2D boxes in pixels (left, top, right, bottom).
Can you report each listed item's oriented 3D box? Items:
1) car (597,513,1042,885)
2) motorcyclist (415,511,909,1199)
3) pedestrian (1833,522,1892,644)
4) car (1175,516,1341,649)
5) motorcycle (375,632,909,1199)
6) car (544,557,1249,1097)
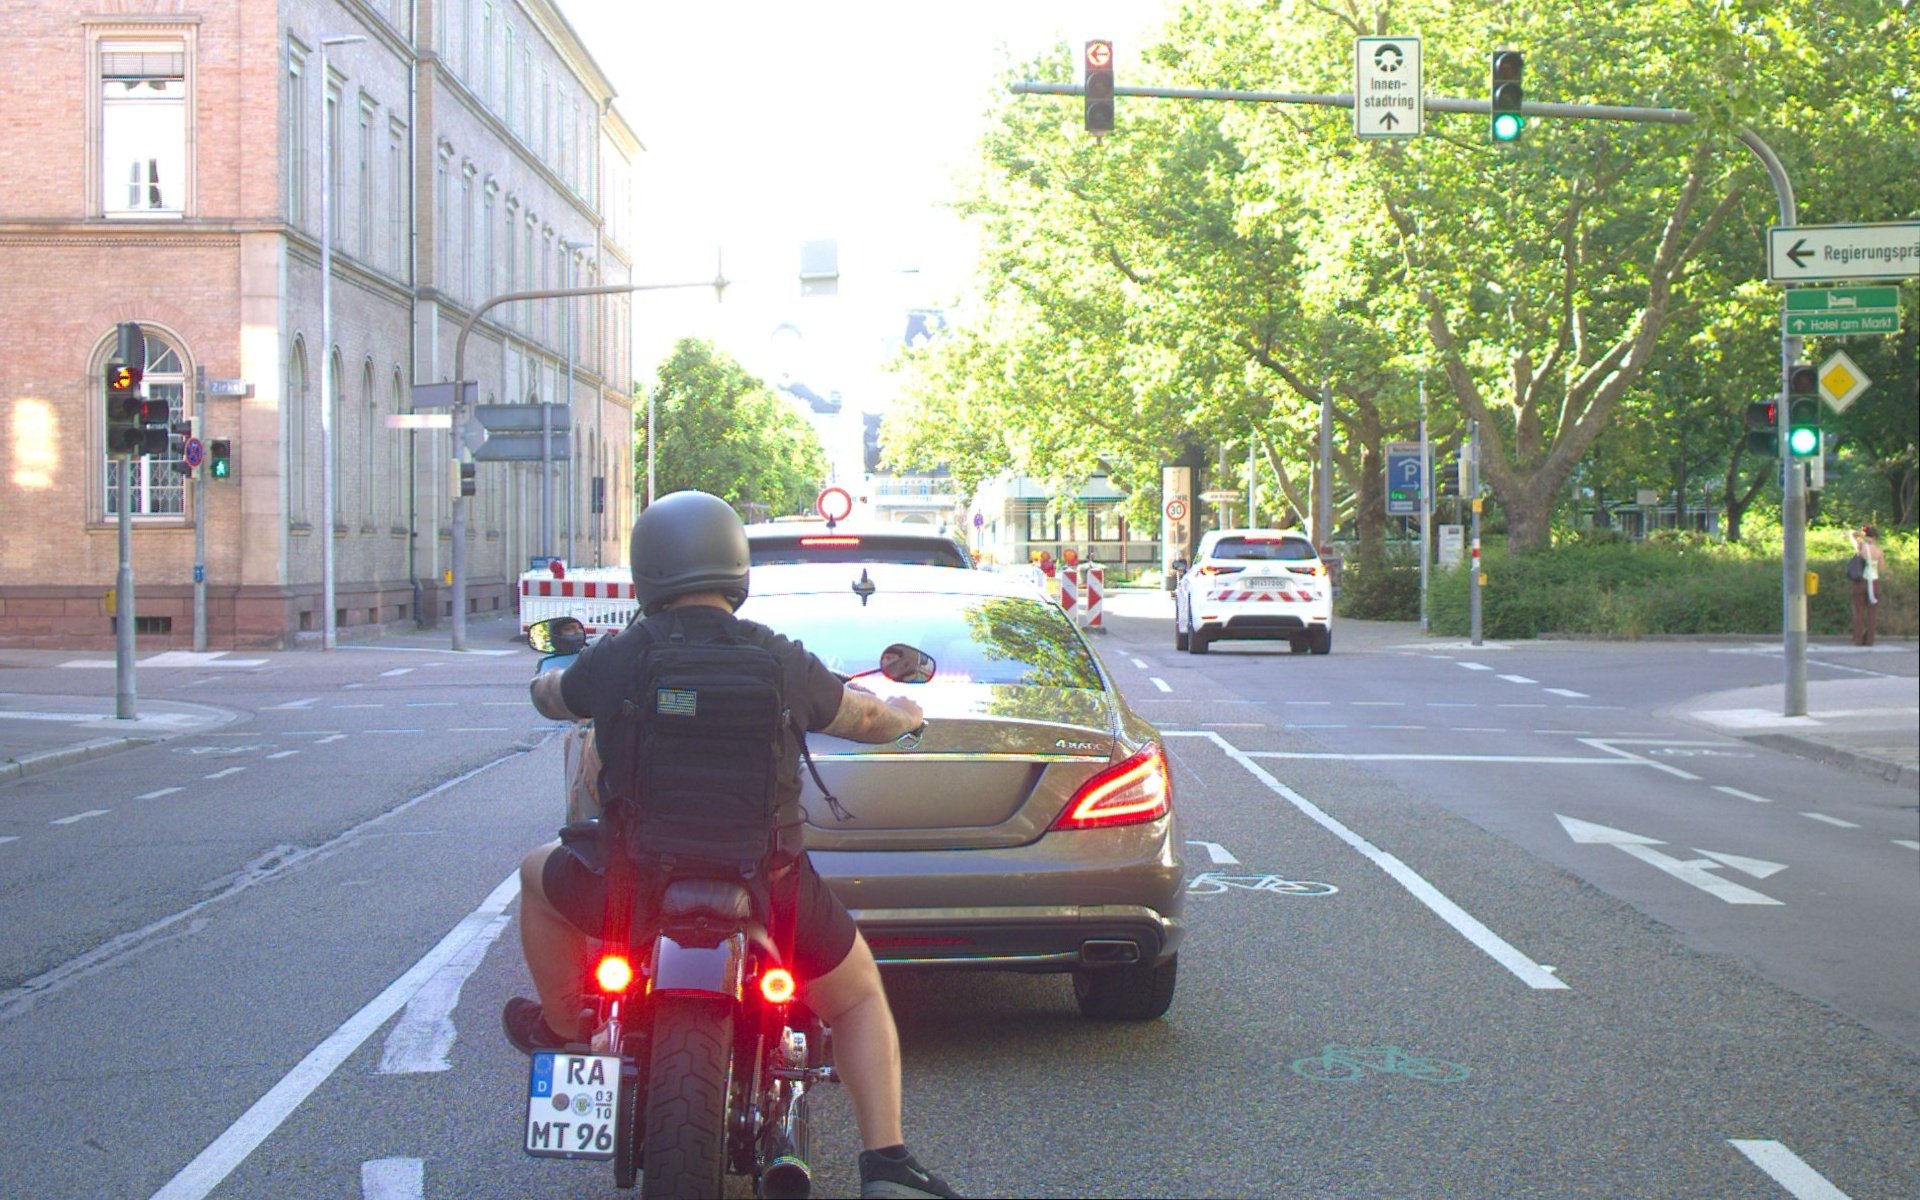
[{"bbox_3d":[-0.661,0.429,17.566,1.993,1.660,4.000,1,1,-1],"label":"car"},{"bbox_3d":[-0.605,0.597,7.506,0.980,1.573,1.248,0,1,-1],"label":"motorcyclist"},{"bbox_3d":[13.285,-0.251,50.592,0.678,1.766,0.616,1,0,29],"label":"pedestrian"},{"bbox_3d":[4.043,-0.277,47.280,1.943,1.702,4.483,1,1,1],"label":"car"},{"bbox_3d":[-0.607,0.740,7.586,0.980,1.271,2.407,0,1,-1],"label":"motorcycle"},{"bbox_3d":[-0.427,0.587,11.644,1.869,1.439,4.431,0,1,-8],"label":"car"}]
